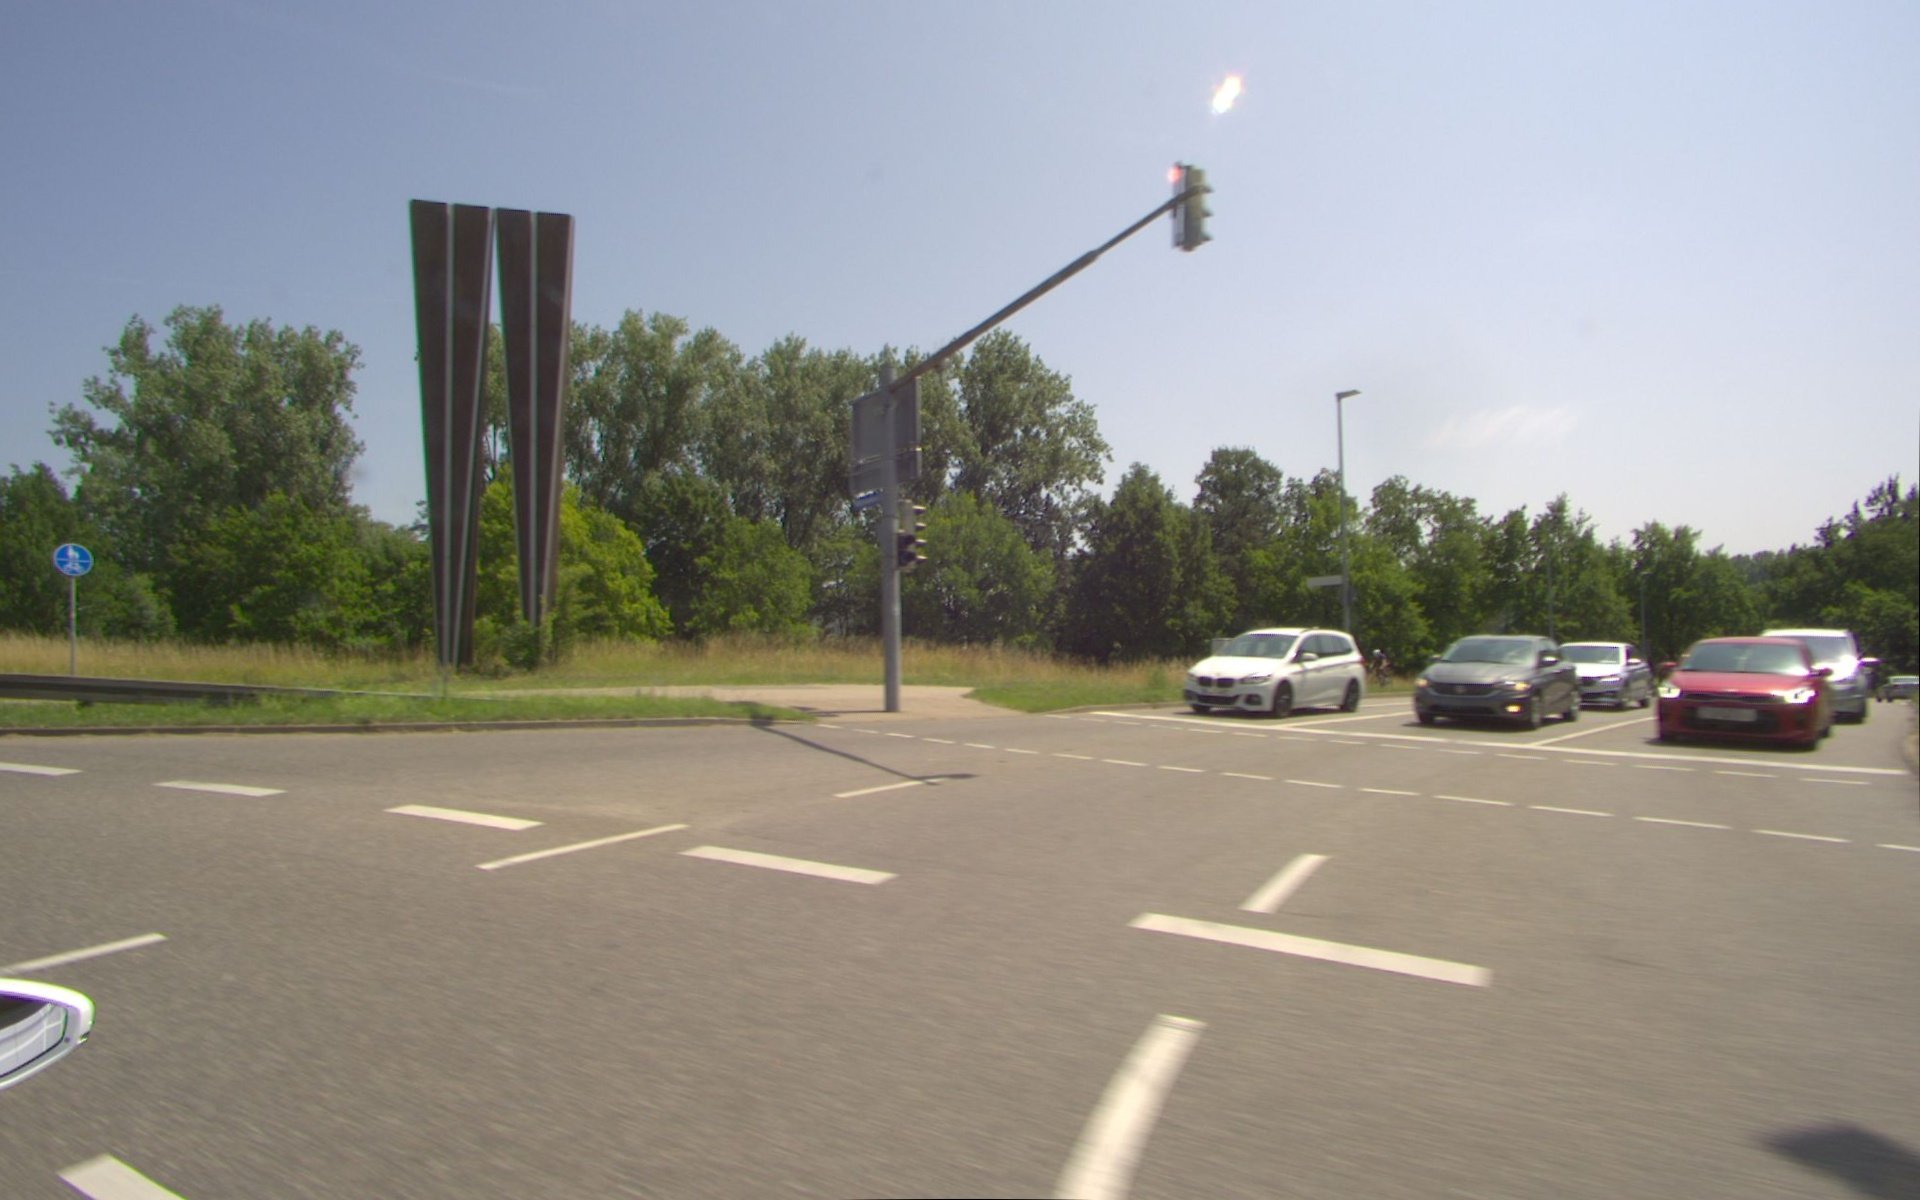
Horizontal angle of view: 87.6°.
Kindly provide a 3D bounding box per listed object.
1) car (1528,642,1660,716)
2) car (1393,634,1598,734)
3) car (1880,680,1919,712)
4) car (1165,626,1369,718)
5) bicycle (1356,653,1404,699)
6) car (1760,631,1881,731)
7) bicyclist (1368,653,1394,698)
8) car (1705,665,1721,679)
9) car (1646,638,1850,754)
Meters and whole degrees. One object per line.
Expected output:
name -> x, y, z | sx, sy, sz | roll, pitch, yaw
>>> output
car -> 13.841, 1.646, 21.784 | 3.962, 1.448, 1.567 | 2, -2, -45
car -> 9.003, 1.295, 16.677 | 4.147, 1.442, 1.850 | 2, -3, -44
car -> 51.501, 5.233, 54.575 | 1.486, 1.515, 3.671 | -1, -2, 35
car -> 5.823, 1.272, 18.743 | 4.256, 1.525, 1.850 | 2, -3, -44
bicycle -> 15.592, 2.800, 37.152 | 2.348, 1.594, 0.651 | 1, -2, -40
car -> 16.073, 1.427, 18.702 | 1.565, 1.673, 3.578 | -1, -2, 42
bicyclist -> 15.628, 2.799, 37.162 | 0.684, 1.619, 0.665 | 1, -2, -39
car -> 92.958, 8.887, 123.614 | 1.482, 1.631, 3.545 | -1, -2, 36
car -> 11.215, 1.236, 14.141 | 4.147, 1.371, 1.738 | 2, -3, -44
